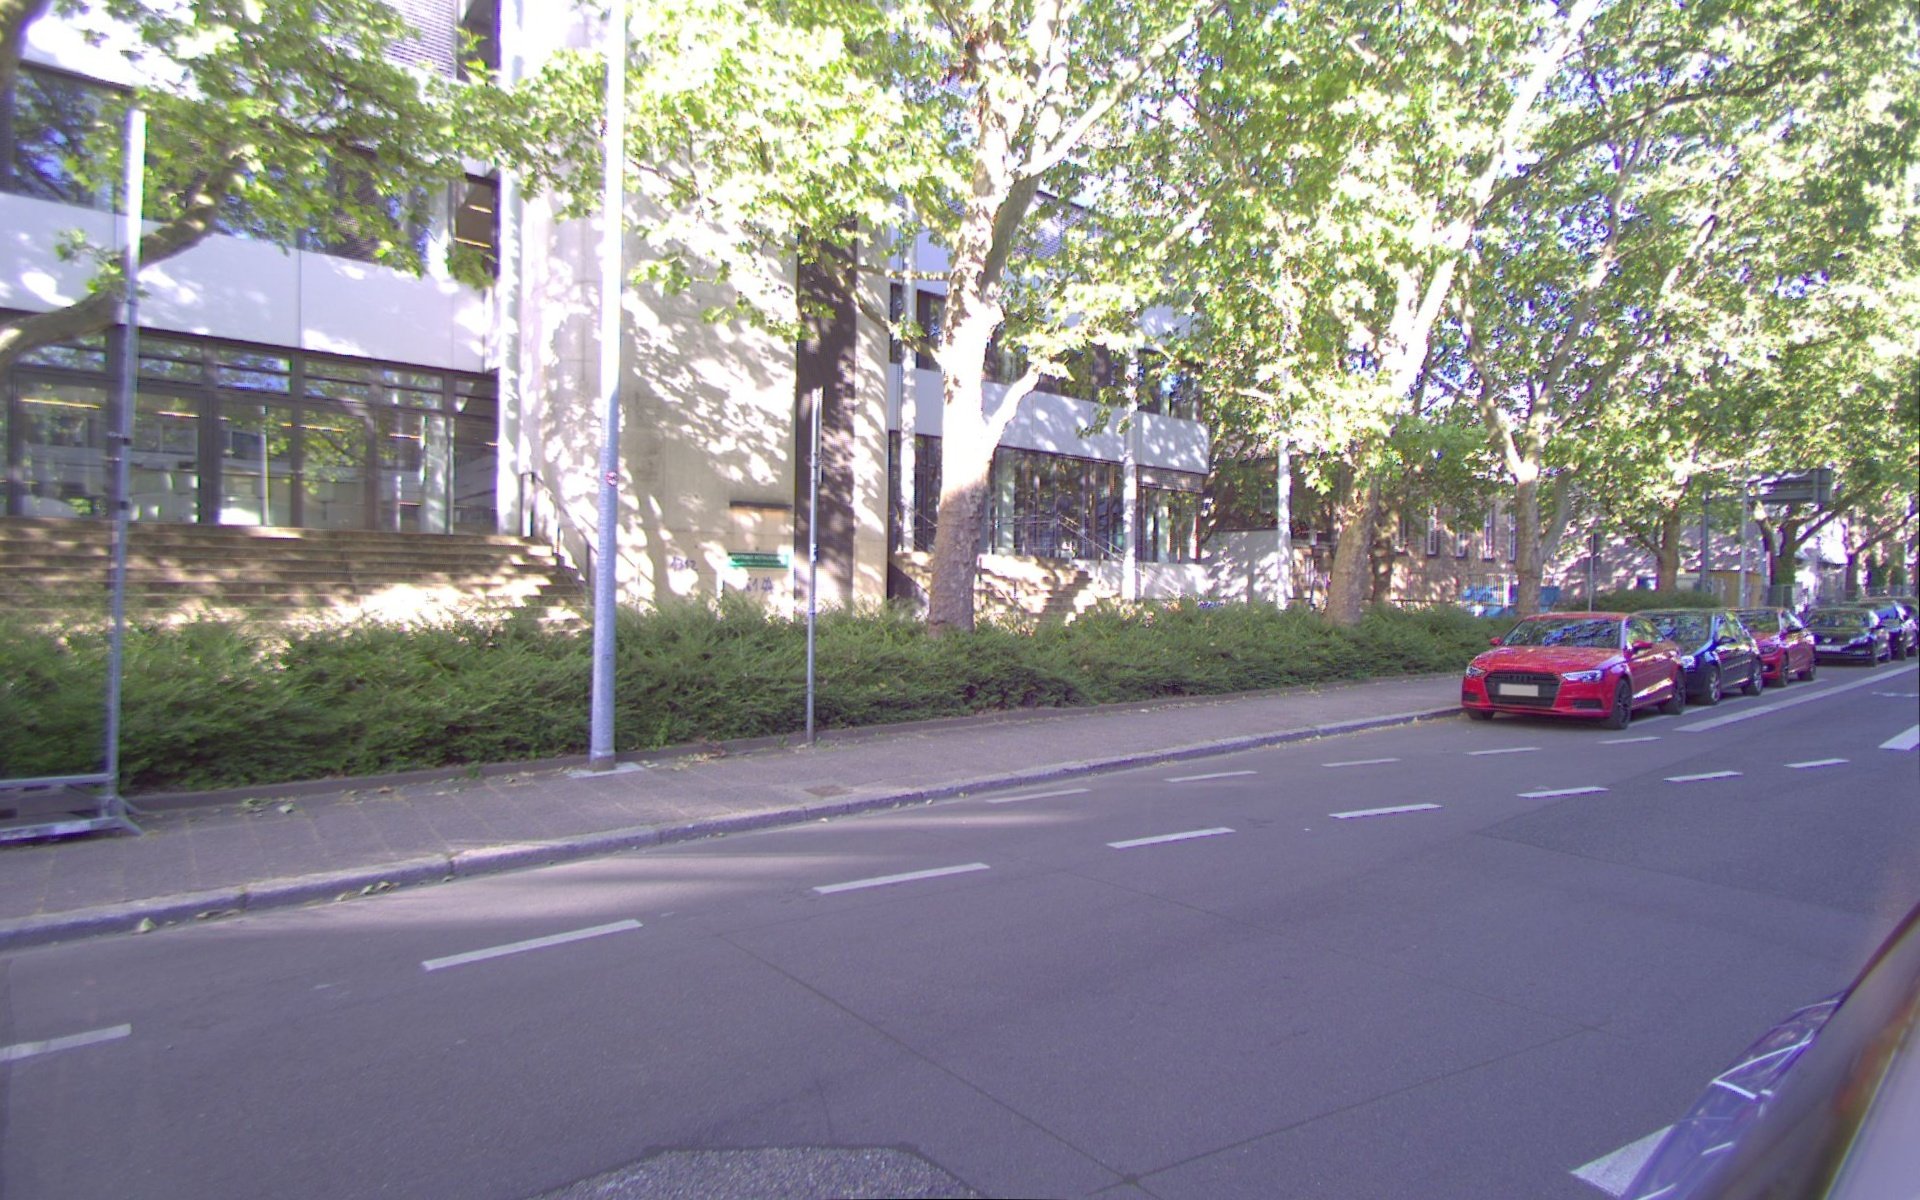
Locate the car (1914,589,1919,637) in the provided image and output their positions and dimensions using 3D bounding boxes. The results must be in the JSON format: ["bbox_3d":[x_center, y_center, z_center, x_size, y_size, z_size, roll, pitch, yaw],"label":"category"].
[{"bbox_3d":[39.621,0.477,40.293,3.930,1.872,1.997,-1,0,-41],"label":"car"}]

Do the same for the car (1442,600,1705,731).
[{"bbox_3d":[8.277,0.746,13.540,3.930,1.443,1.906,-1,0,-41],"label":"car"}]

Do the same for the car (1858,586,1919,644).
[{"bbox_3d":[31.282,0.442,33.330,4.493,1.809,1.997,-1,0,-41],"label":"car"}]

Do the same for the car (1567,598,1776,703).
[{"bbox_3d":[11.697,0.724,16.578,3.581,1.478,1.997,-1,0,-41],"label":"car"}]

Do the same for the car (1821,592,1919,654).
[{"bbox_3d":[26.546,0.601,29.203,4.070,1.621,1.997,-1,0,-41],"label":"car"}]

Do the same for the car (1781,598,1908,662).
[{"bbox_3d":[22.819,0.714,26.079,3.527,1.474,1.997,-1,0,-41],"label":"car"}]

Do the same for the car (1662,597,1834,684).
[{"bbox_3d":[15.669,0.711,20.072,3.762,1.517,1.997,-1,0,-41],"label":"car"}]

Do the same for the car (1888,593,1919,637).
[{"bbox_3d":[36.038,0.528,37.475,4.070,1.585,1.997,-1,0,-41],"label":"car"}]
